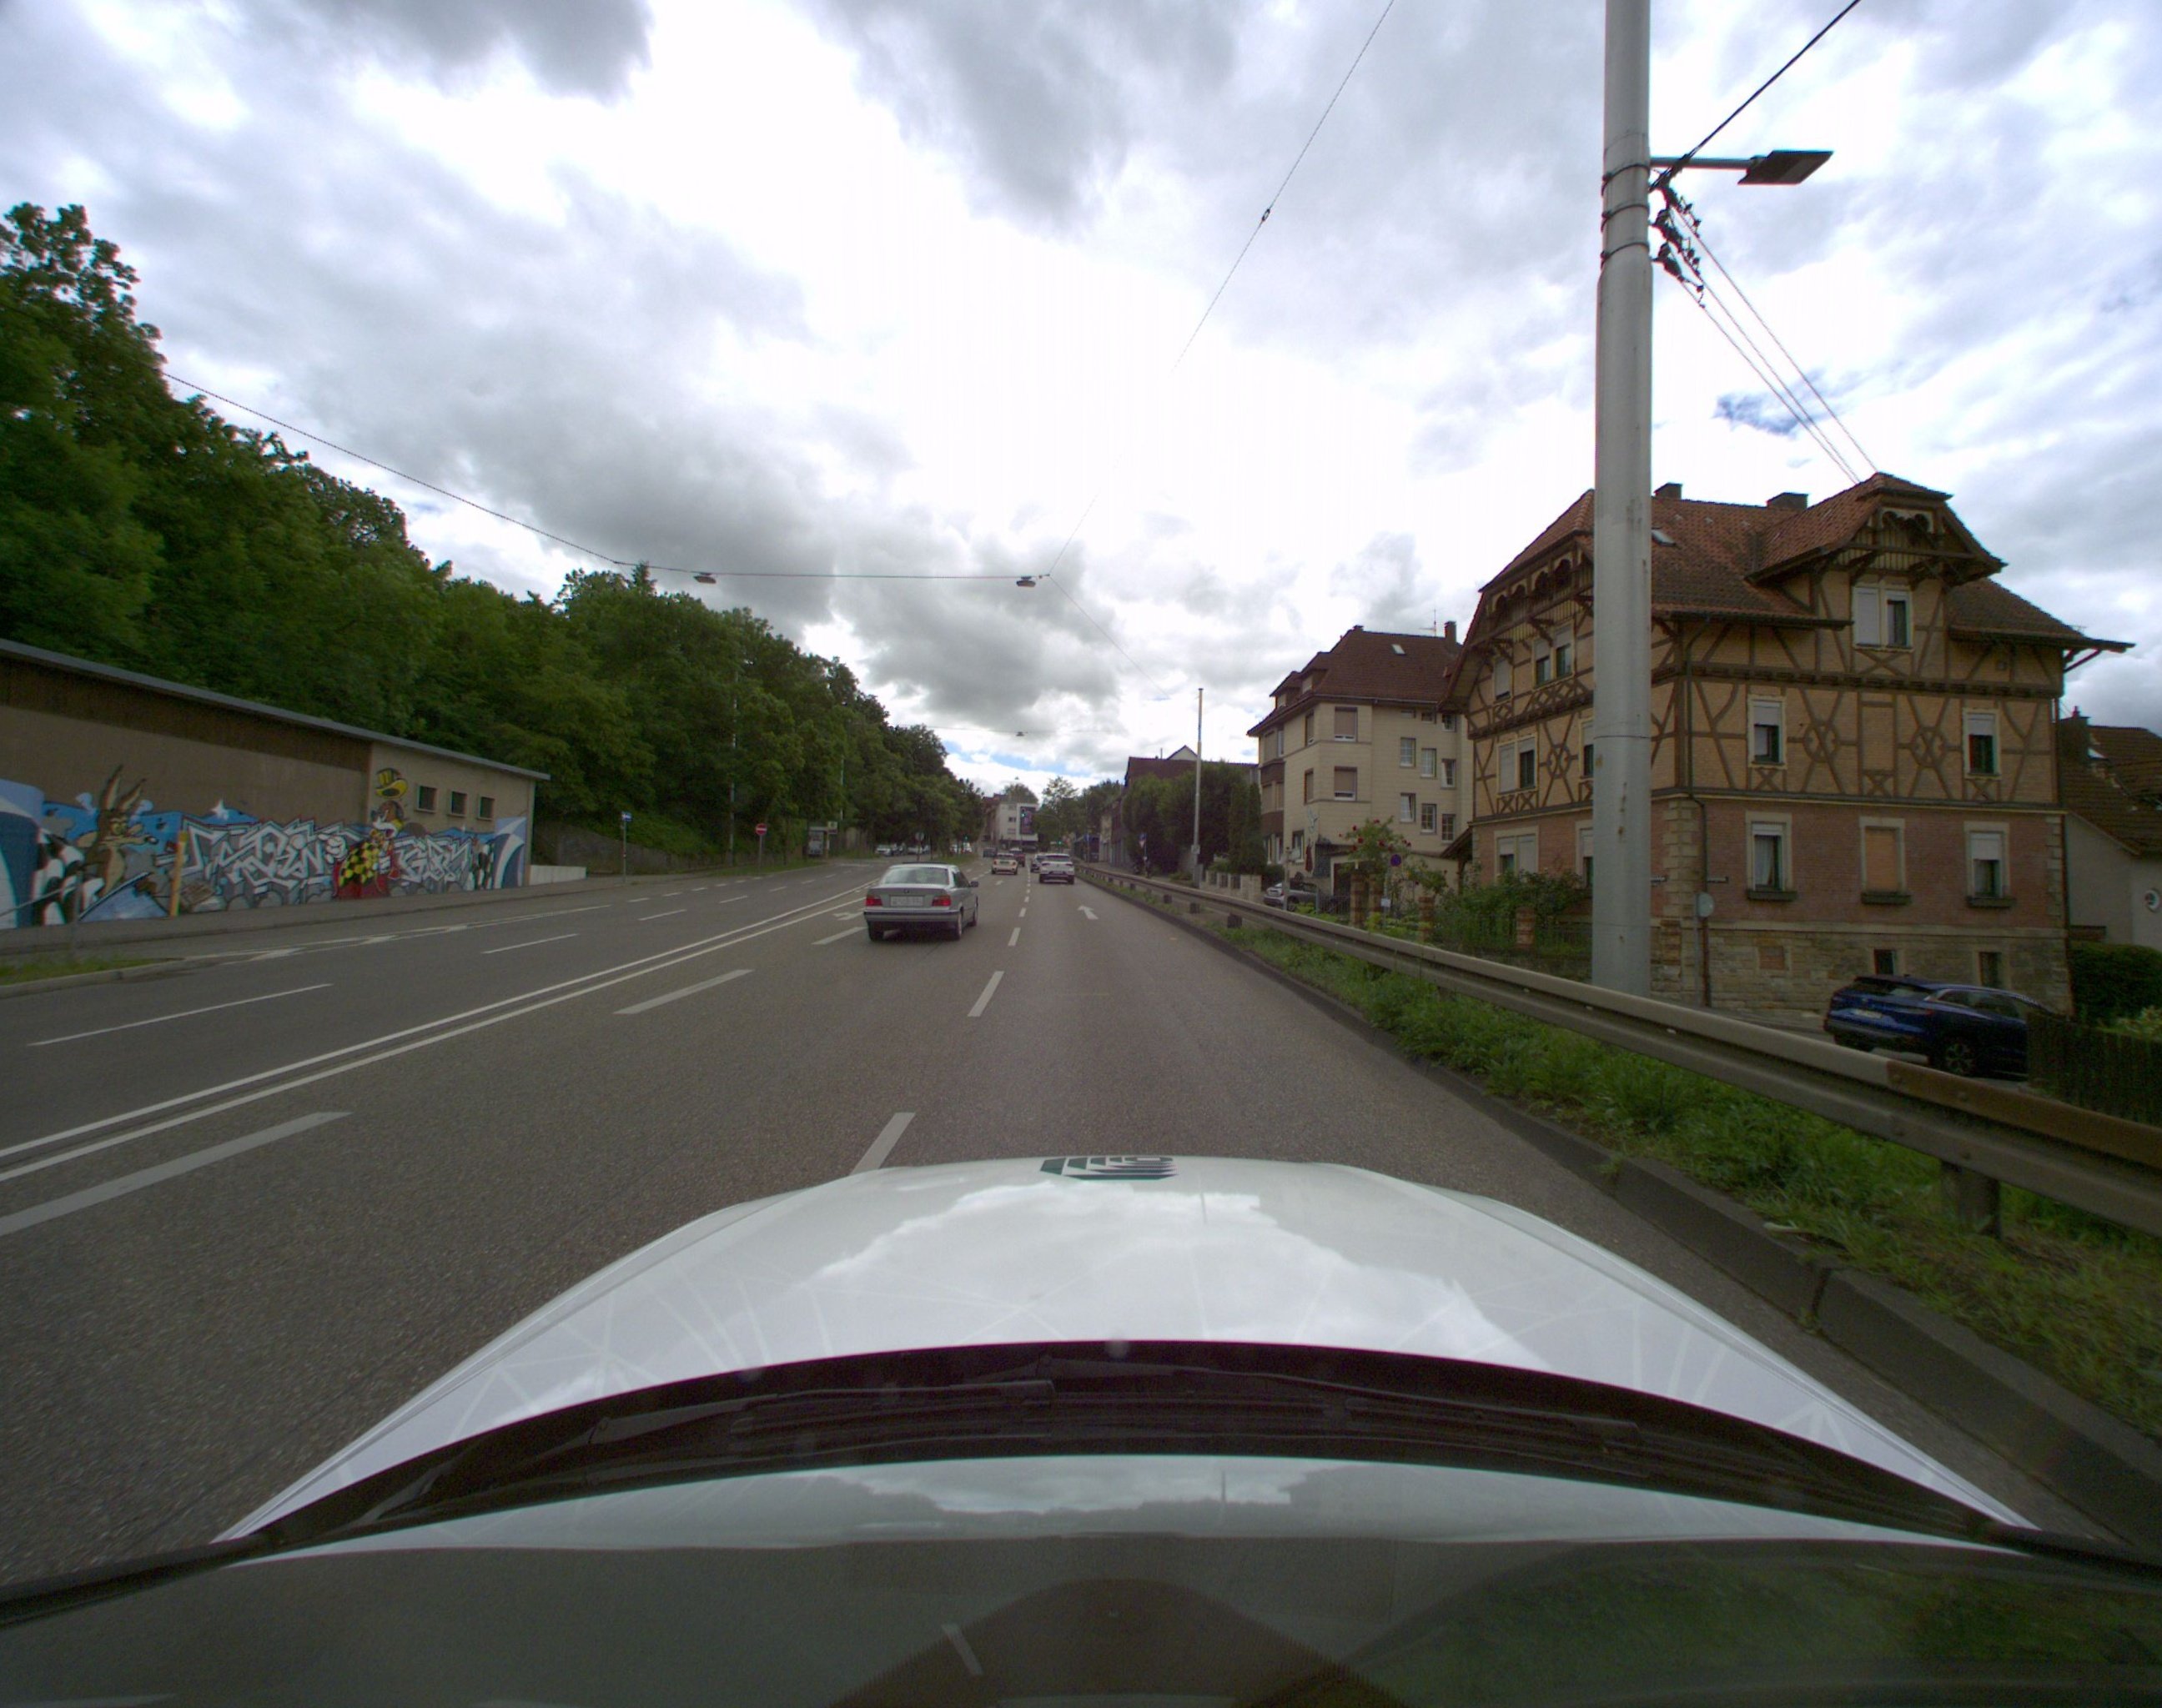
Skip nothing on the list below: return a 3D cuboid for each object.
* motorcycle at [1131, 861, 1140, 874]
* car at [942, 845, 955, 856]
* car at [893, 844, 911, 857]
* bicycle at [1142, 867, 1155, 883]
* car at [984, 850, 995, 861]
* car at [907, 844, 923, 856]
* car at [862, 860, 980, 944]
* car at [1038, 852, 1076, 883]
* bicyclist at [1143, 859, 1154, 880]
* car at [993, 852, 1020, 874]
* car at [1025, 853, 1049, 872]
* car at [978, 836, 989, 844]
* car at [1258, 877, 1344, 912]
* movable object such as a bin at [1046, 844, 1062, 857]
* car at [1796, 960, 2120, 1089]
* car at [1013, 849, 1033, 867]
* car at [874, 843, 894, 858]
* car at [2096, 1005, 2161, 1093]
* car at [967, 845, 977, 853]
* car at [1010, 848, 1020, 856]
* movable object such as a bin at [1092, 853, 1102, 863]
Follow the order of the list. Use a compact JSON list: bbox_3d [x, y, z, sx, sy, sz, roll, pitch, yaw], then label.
[{"bbox_3d":[4.910,1.225,73.519,0.607,1.162,2.038,0,1,-3],"label":"motorcycle"},{"bbox_3d":[-23.011,-0.640,141.660,1.857,1.670,4.272,3,1,-5],"label":"car"},{"bbox_3d":[-24.795,-0.479,113.074,1.858,1.670,4.270,3,1,-6],"label":"car"},{"bbox_3d":[5.009,1.565,60.418,0.565,1.063,2.001,-1,1,-6],"label":"bicycle"},{"bbox_3d":[-14.200,0.249,126.136,1.721,1.583,3.448,-1,0,-7],"label":"car"},{"bbox_3d":[-25.465,-0.645,125.184,1.858,1.593,4.270,3,1,-6],"label":"car"},{"bbox_3d":[-2.974,0.817,15.994,1.631,1.383,4.614,-1,0,-3],"label":"car"},{"bbox_3d":[-1.295,0.684,42.626,1.794,1.519,3.451,-1,0,-4],"label":"car"},{"bbox_3d":[5.004,1.146,60.331,0.566,1.525,0.957,-1,1,-6],"label":"bicyclist"},{"bbox_3d":[-5.080,0.594,55.065,1.721,1.376,3.449,-1,0,-6],"label":"car"},{"bbox_3d":[-3.405,0.659,62.744,1.720,1.376,3.449,-1,0,-6],"label":"car"},{"bbox_3d":[-26.261,-3.898,220.265,2.505,2.013,5.175,3,1,-4],"label":"car"},{"bbox_3d":[10.609,1.958,39.292,3.615,1.434,1.693,4,0,-21],"label":"car"},{"bbox_3d":[-3.927,-0.529,118.859,1.894,1.870,1.522,3,0,-13],"label":"movable object such as a bin"},{"bbox_3d":[15.880,3.059,14.888,3.983,1.573,1.996,7,0,-7],"label":"car"},{"bbox_3d":[-5.545,0.379,77.811,1.721,1.640,3.448,-1,0,-7],"label":"car"},{"bbox_3d":[-24.846,-0.487,102.759,1.858,1.670,4.270,3,1,-6],"label":"car"},{"bbox_3d":[21.987,3.973,15.337,3.983,1.461,1.673,8,0,-7],"label":"car"},{"bbox_3d":[-22.524,-1.116,168.377,1.858,1.541,4.270,3,1,-6],"label":"car"},{"bbox_3d":[-11.621,-0.404,143.420,1.720,1.376,3.450,-1,0,-5],"label":"car"},{"bbox_3d":[2.292,0.547,116.368,1.193,1.408,0.710,3,0,-5],"label":"movable object such as a bin"}]
